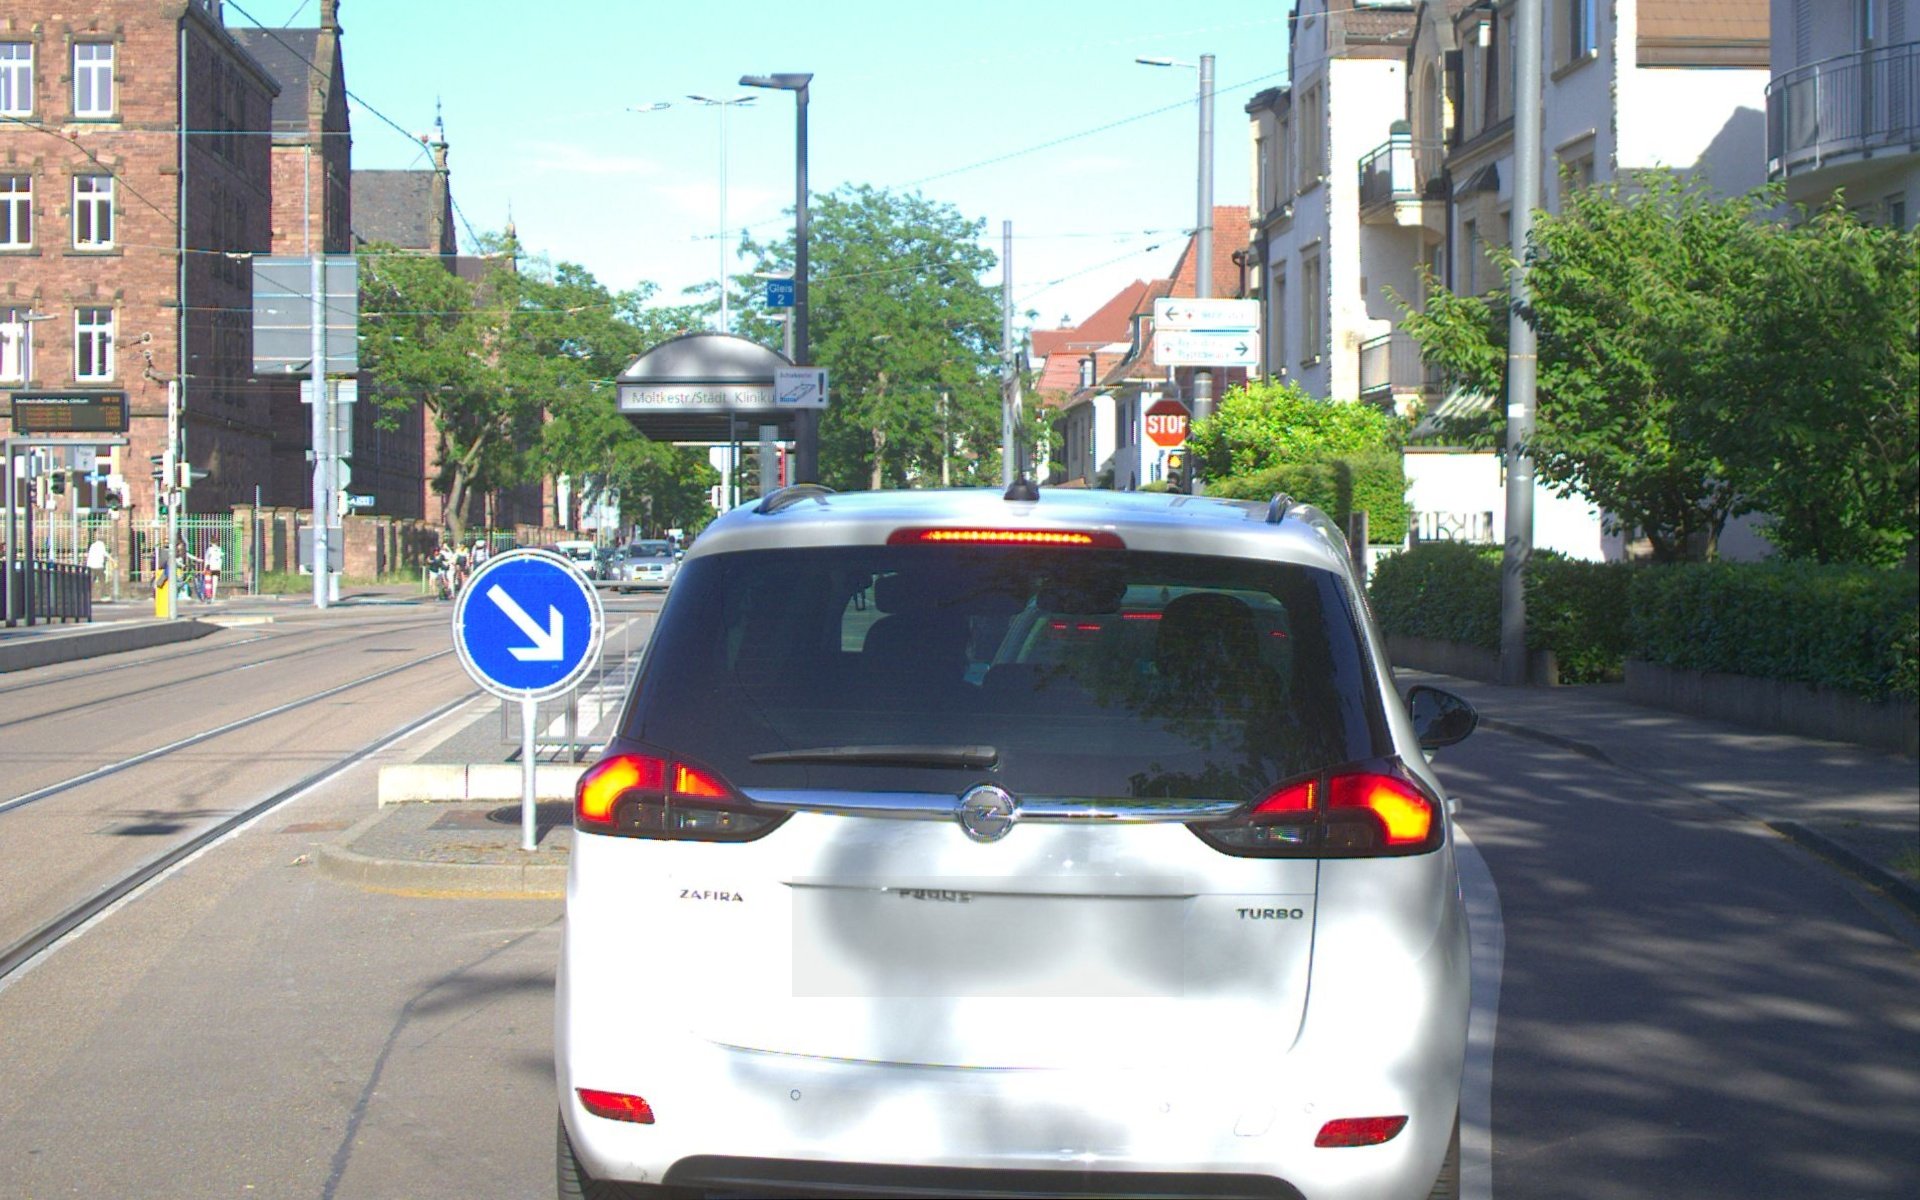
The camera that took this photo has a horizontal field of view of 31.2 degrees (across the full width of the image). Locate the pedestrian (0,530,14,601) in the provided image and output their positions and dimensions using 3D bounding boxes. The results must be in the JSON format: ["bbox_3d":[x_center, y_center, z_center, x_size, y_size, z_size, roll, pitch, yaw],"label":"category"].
[{"bbox_3d":[-24.160,-0.866,86.295,0.766,1.768,0.721,1,0,-17],"label":"pedestrian"}]

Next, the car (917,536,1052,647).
[{"bbox_3d":[0.336,-0.161,53.089,1.907,1.656,4.001,0,1,-2],"label":"car"}]

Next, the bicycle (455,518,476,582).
[{"bbox_3d":[-15.698,-1.597,109.115,0.487,2.007,1.405,0,1,0],"label":"bicycle"}]

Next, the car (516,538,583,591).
[{"bbox_3d":[-13.552,-1.182,113.712,1.746,1.710,4.000,1,1,-1],"label":"car"}]

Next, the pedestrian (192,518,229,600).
[{"bbox_3d":[-18.529,-1.022,84.975,0.794,2.007,0.721,1,0,-17],"label":"pedestrian"}]

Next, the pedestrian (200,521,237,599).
[{"bbox_3d":[-19.274,-1.049,89.368,0.794,2.007,0.721,1,0,-24],"label":"pedestrian"}]

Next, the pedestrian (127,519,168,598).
[{"bbox_3d":[-20.915,-1.064,88.470,0.795,2.007,0.720,1,0,-34],"label":"pedestrian"}]

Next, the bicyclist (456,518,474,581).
[{"bbox_3d":[-15.701,-1.597,109.093,0.498,2.007,0.572,0,1,-1],"label":"bicyclist"}]

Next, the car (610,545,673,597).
[{"bbox_3d":[-10.651,-0.975,115.218,1.746,1.710,4.000,1,1,-1],"label":"car"}]

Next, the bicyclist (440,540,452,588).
[{"bbox_3d":[-15.430,-1.092,103.214,0.313,1.439,0.384,0,1,-1],"label":"bicyclist"}]

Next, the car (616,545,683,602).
[{"bbox_3d":[-9.636,-0.840,107.020,1.746,1.710,4.000,1,1,-1],"label":"car"}]

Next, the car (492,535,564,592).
[{"bbox_3d":[-13.427,-1.145,107.044,1.746,1.710,4.000,1,1,-1],"label":"car"}]

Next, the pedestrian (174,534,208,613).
[{"bbox_3d":[-19.760,-0.681,88.322,0.794,2.007,1.047,1,0,-15],"label":"pedestrian"}]

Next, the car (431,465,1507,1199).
[{"bbox_3d":[0.230,0.556,8.051,1.907,1.656,3.999,0,1,7],"label":"car"}]

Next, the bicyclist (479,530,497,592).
[{"bbox_3d":[-15.306,-1.267,111.586,0.488,2.007,0.502,1,0,-1],"label":"bicyclist"}]

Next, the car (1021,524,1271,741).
[{"bbox_3d":[1.563,0.211,28.274,1.907,1.656,4.000,0,1,4],"label":"car"}]

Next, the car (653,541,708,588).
[{"bbox_3d":[-10.487,-1.325,129.069,1.746,1.710,4.000,1,1,-1],"label":"car"}]

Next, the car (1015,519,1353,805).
[{"bbox_3d":[1.499,0.314,21.613,1.907,1.619,3.999,0,1,7],"label":"car"}]

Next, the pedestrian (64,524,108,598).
[{"bbox_3d":[-22.632,-1.016,89.039,0.808,1.894,0.743,1,0,14],"label":"pedestrian"}]

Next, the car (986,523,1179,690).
[{"bbox_3d":[1.240,0.028,36.111,1.907,1.656,4.000,0,1,1],"label":"car"}]

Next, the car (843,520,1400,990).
[{"bbox_3d":[0.777,0.489,13.774,1.907,1.592,3.999,0,1,7],"label":"car"}]

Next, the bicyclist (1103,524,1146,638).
[{"bbox_3d":[2.442,-0.288,50.950,0.616,1.681,0.779,0,1,4],"label":"bicyclist"}]

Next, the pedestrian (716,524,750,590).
[{"bbox_3d":[-6.597,-1.241,99.773,0.741,1.894,0.811,1,0,-23],"label":"pedestrian"}]
